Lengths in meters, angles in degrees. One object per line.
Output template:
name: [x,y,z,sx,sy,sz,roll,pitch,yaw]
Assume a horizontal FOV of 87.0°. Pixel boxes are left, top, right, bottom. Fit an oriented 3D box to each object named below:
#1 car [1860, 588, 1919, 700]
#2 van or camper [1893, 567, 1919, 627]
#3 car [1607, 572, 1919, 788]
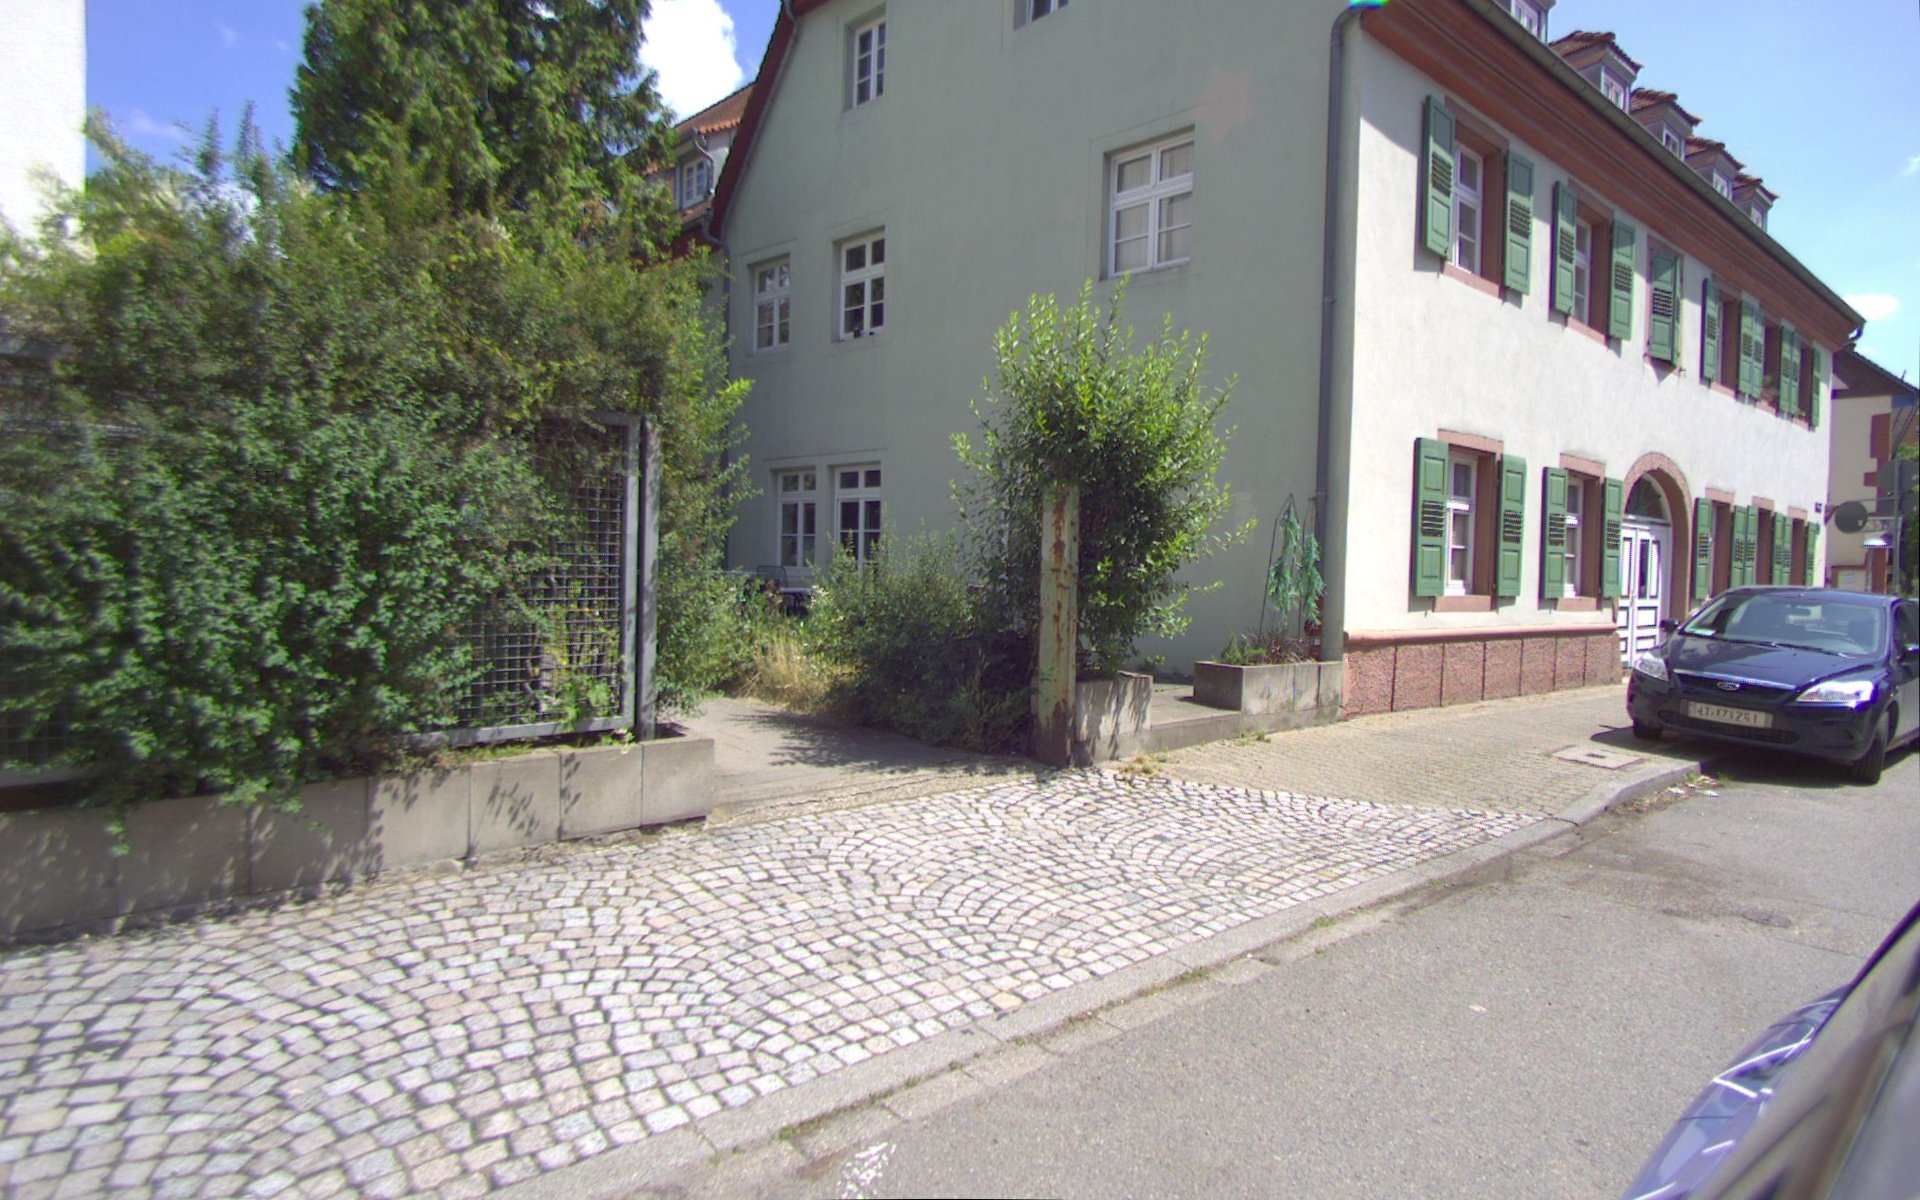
car: [14.911,0.621,15.031,3.928,1.516,1.651,0,2,-39]
van or camper: [37.724,-0.071,38.205,1.978,2.315,5.105,2,2,23]
car: [7.786,0.561,9.292,3.926,1.534,1.852,0,2,-38]
